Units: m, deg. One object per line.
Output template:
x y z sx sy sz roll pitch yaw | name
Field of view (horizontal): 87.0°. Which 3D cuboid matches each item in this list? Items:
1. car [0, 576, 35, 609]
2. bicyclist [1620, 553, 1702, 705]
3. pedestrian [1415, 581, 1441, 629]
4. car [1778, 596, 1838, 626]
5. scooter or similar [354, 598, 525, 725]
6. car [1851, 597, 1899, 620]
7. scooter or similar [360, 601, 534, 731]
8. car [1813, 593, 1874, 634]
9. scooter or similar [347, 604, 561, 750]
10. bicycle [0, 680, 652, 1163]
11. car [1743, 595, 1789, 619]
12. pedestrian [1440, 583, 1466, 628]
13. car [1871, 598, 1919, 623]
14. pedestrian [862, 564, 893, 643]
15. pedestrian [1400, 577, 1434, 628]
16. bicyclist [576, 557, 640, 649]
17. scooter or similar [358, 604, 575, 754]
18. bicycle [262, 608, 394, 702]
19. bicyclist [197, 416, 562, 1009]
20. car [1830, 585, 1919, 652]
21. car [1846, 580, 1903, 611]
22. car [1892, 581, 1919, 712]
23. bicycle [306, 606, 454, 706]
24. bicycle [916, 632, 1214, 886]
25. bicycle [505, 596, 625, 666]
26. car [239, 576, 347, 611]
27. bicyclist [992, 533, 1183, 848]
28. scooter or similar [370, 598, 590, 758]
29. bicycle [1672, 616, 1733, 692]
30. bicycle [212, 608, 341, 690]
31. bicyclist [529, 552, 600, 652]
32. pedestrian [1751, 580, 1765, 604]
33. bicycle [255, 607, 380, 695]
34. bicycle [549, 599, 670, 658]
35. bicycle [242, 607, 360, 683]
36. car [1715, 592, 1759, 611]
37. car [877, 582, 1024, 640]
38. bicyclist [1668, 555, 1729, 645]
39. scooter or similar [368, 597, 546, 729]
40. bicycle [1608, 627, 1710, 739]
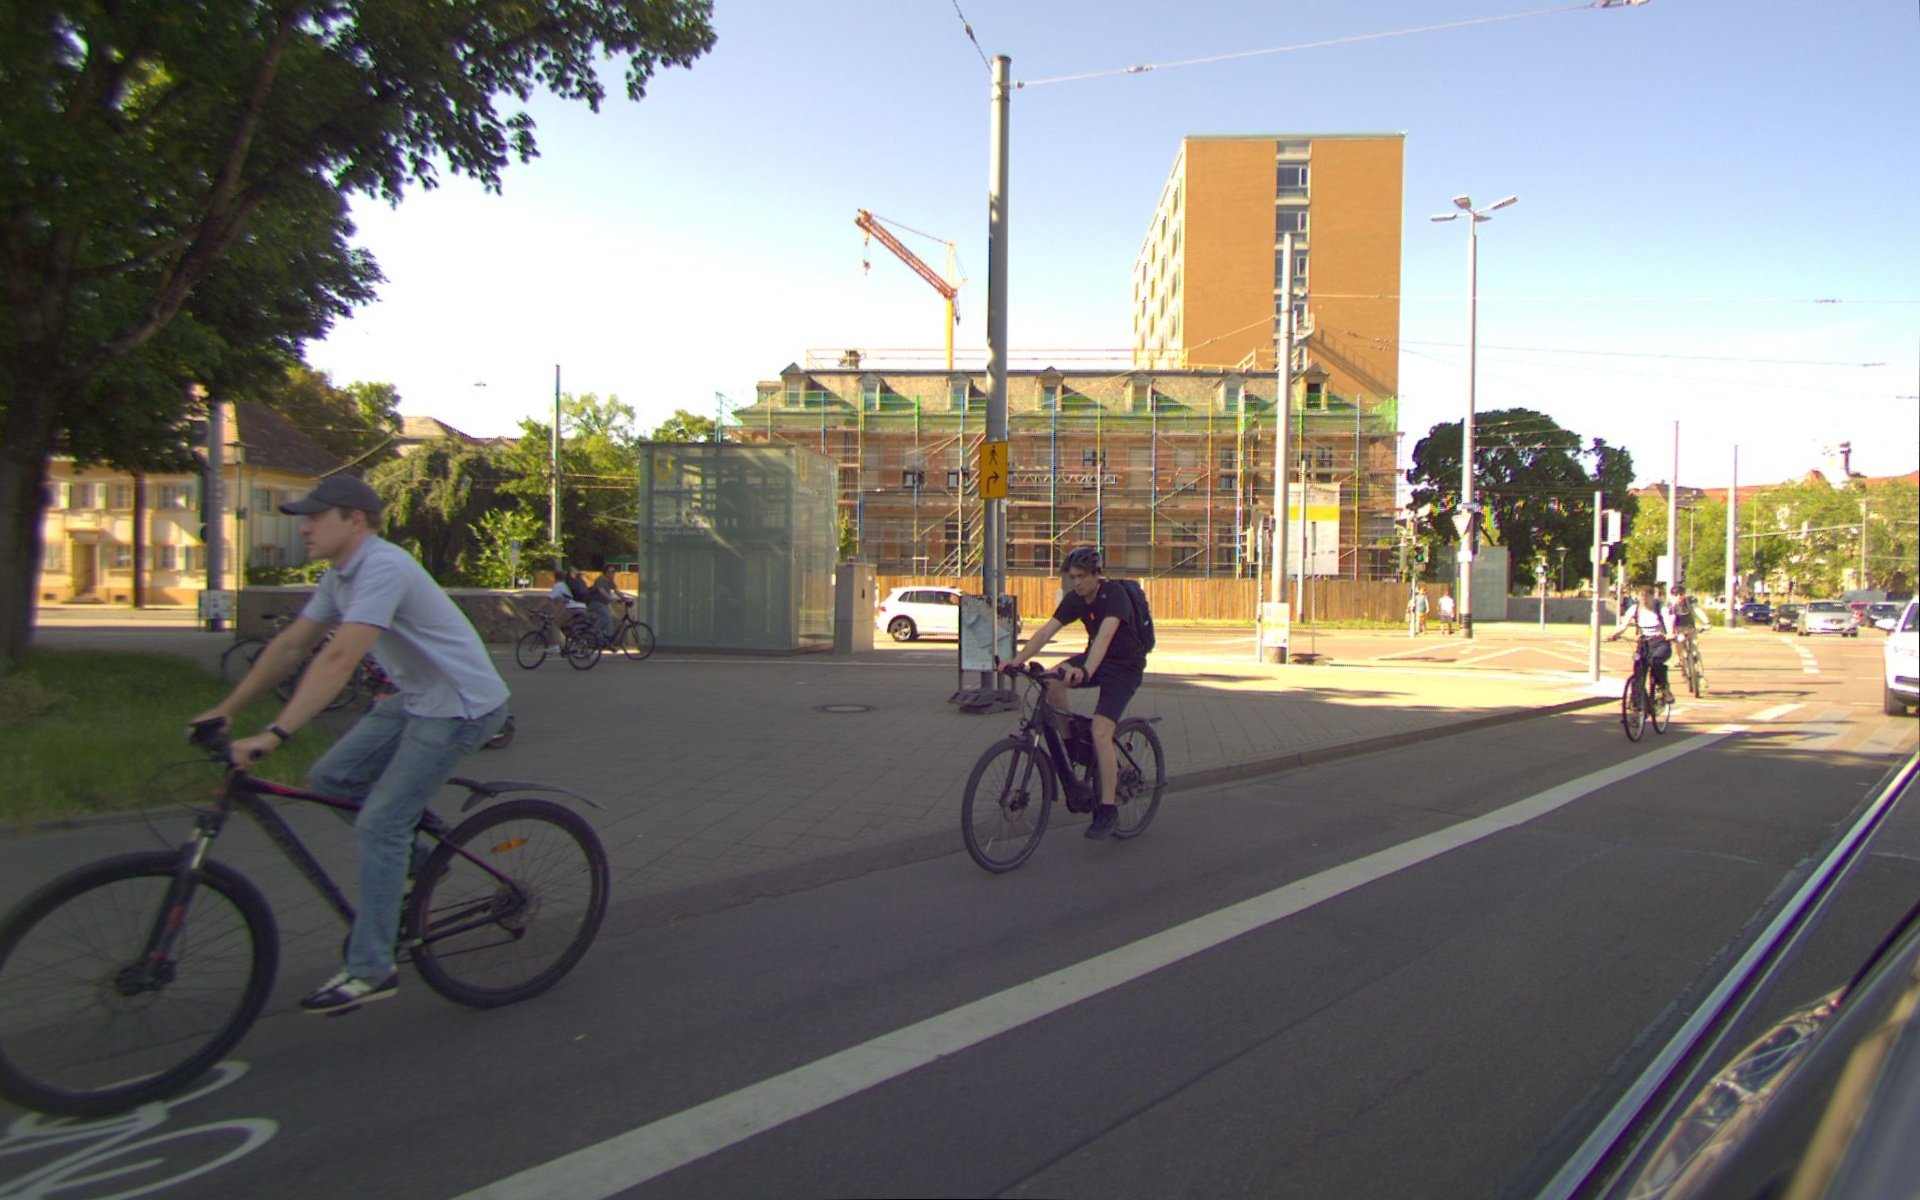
-48.924 -0.384 50.634 3.754 1.641 1.916 0 2 6 | car
7.889 0.305 11.387 0.937 1.634 0.550 0 -1 -43 | bicyclist
17.608 0.192 38.084 0.659 1.779 0.810 -1 -1 44 | pedestrian
47.172 0.579 56.381 1.872 1.586 3.969 -1 0 31 | car
-5.328 0.594 10.425 1.538 1.211 0.270 -1 0 -42 | scooter or similar
61.199 0.565 67.757 1.702 1.477 3.966 -1 0 33 | car
-5.116 0.626 10.169 1.538 1.200 0.270 -1 0 -42 | scooter or similar
38.074 0.537 43.680 1.879 1.650 3.954 -1 0 40 | car
-4.438 0.636 8.972 1.674 1.178 0.270 -1 0 -42 | scooter or similar
-1.971 0.876 3.272 1.902 1.082 0.386 0 1 -44 | bicycle
54.620 0.445 68.656 1.872 1.586 3.969 -1 0 31 | car
18.567 0.206 38.101 0.659 1.698 0.810 -1 -1 44 | pedestrian
57.736 0.642 62.250 1.874 1.477 3.964 -1 0 34 | car
-1.995 0.092 24.451 0.638 1.872 0.546 -1 0 6 | pedestrian
17.952 0.106 39.754 0.930 1.954 1.032 -1 -1 44 | pedestrian
-6.562 0.058 18.894 1.029 1.681 0.453 -1 0 9 | bicyclist
-4.230 0.637 8.768 1.674 1.172 0.270 -1 0 -42 | scooter or similar
-7.753 0.649 12.451 1.329 1.075 0.404 -1 0 -41 | bicycle
-1.916 0.307 3.350 0.871 1.613 0.783 1 -1 -44 | bicyclist
24.716 0.442 26.922 1.874 1.650 3.964 -1 0 34 | car
82.808 -0.394 91.755 2.219 2.715 5.263 -1 0 24 | car
14.147 0.612 13.873 1.865 1.666 4.325 1 0 45 | car
-6.728 0.624 11.768 1.455 1.075 0.404 -1 0 -37 | bicycle
0.653 0.797 5.723 1.900 1.131 0.532 -1 2 -41 | bicycle
-6.625 0.511 16.976 1.904 1.131 0.531 0 0 12 | bicycle
-32.239 -0.312 49.010 3.922 1.638 2.001 -1 0 -2 | car
0.745 0.466 5.834 0.623 1.634 0.965 -1 -1 44 | bicyclist
-4.014 0.608 8.566 1.674 1.235 0.270 -1 0 -42 | scooter or similar
12.310 0.859 16.809 0.528 1.173 1.847 0 0 27 | bicycle
-9.540 0.655 14.156 0.403 1.075 1.439 -1 0 44 | bicycle
-6.623 0.028 16.969 0.937 1.634 0.598 -1 0 11 | bicyclist
80.569 -0.810 102.179 0.867 2.466 0.881 -1 -1 28 | pedestrian
-8.395 0.644 13.269 0.401 1.075 1.336 -1 0 32 | bicycle
-6.537 0.518 18.874 2.159 1.071 0.487 0 0 9 | bicycle
-10.001 0.662 15.392 0.403 1.075 1.440 -1 0 41 | bicycle
61.913 0.085 80.717 1.903 1.477 4.627 -1 0 26 | car
-0.238 0.292 30.544 4.183 1.641 1.914 0 2 11 | car
12.287 0.001 16.869 0.670 1.439 1.026 -1 0 29 | bicyclist
-4.901 0.582 9.936 1.538 1.200 0.270 -1 0 -42 | scooter or similar
7.830 0.881 11.308 1.901 1.132 0.532 1 -1 -43 | bicycle
